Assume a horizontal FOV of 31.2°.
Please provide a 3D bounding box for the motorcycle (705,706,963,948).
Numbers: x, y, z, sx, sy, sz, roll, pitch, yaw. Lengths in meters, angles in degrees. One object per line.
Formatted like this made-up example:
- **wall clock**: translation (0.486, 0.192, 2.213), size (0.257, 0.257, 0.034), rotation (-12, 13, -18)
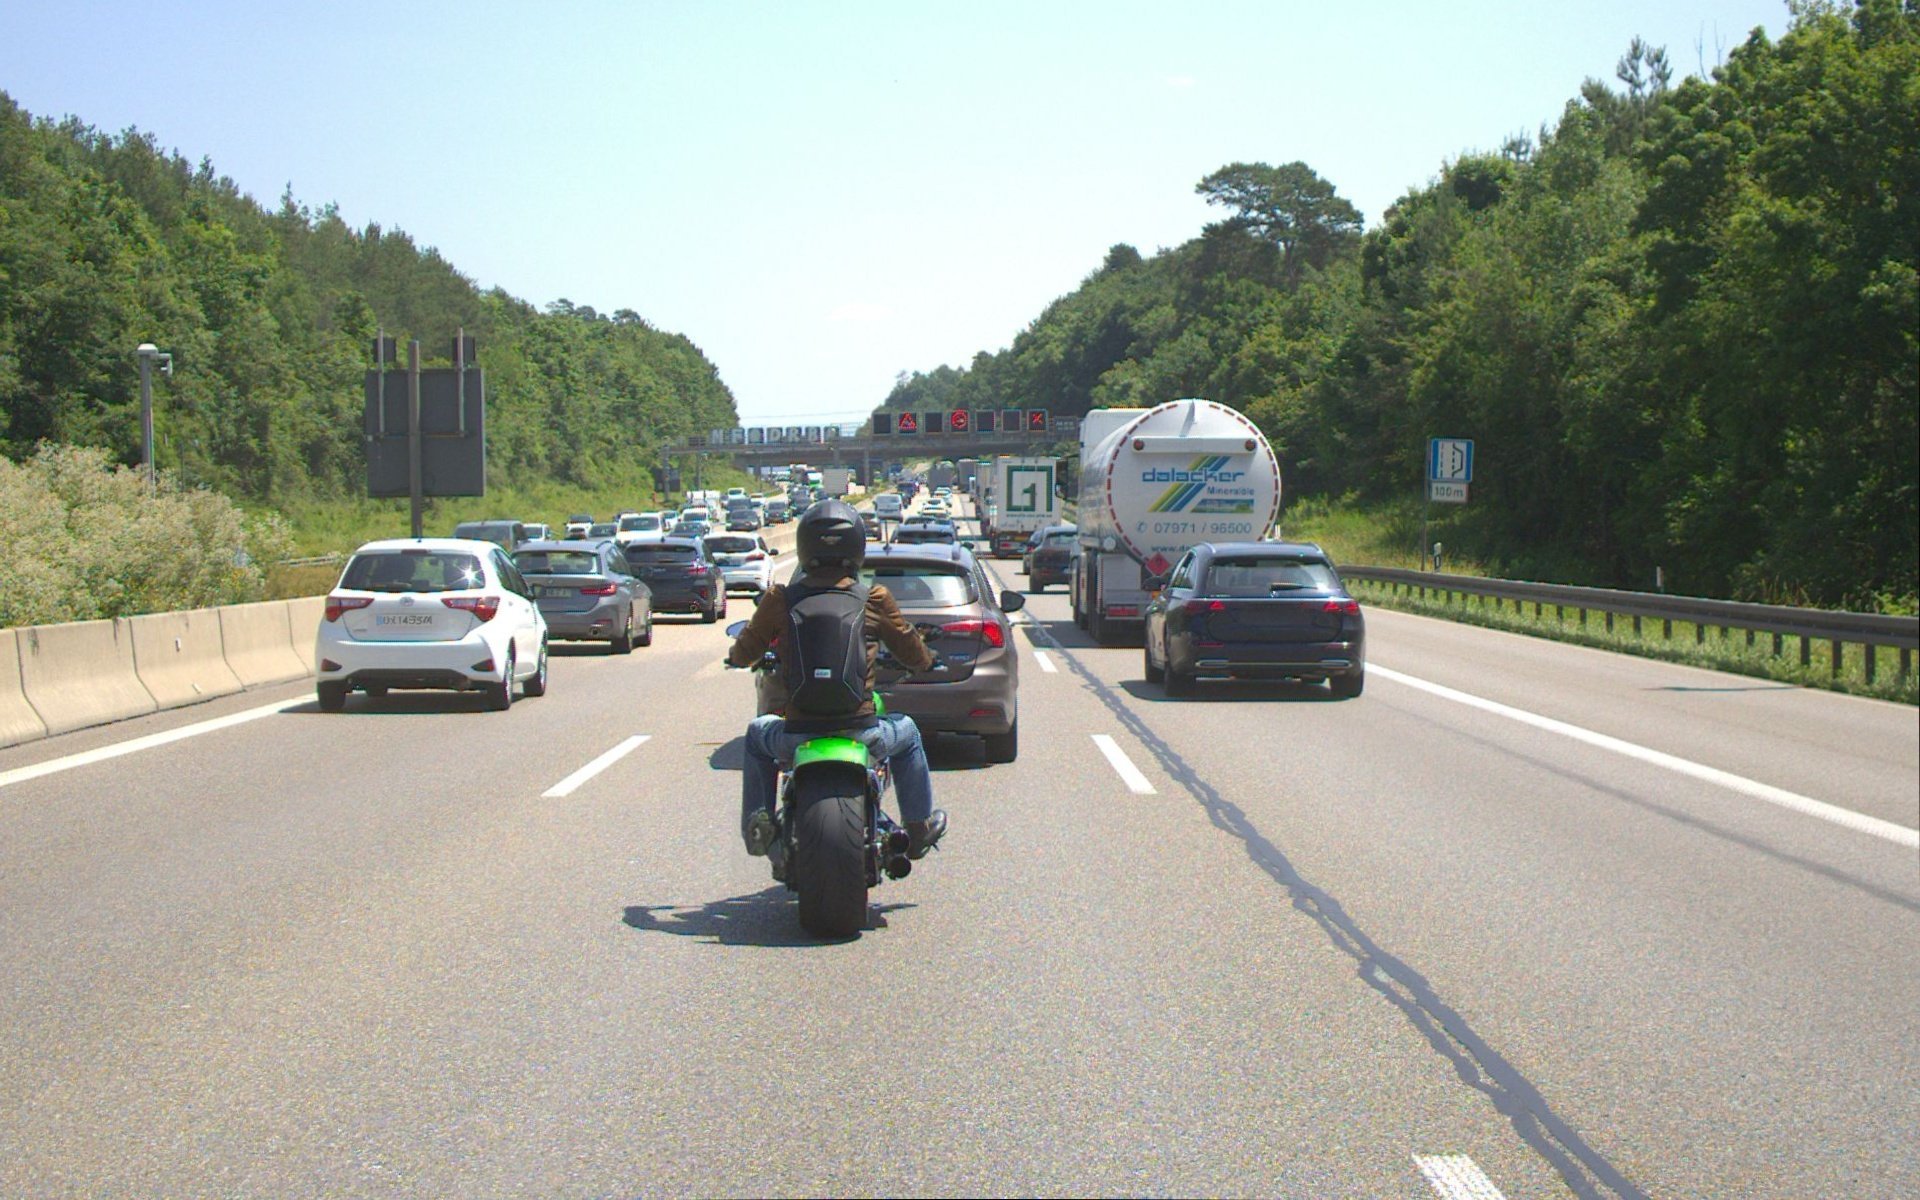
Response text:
- **motorcycle**: translation (-0.466, 0.866, 13.730), size (0.936, 0.790, 2.299), rotation (1, 0, 0)

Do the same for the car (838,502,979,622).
- **car**: translation (-0.771, -0.535, 51.180), size (1.993, 1.705, 4.000), rotation (1, 0, -1)

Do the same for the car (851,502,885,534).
- **car**: translation (-4.773, -4.258, 179.241), size (1.660, 1.594, 4.000), rotation (0, 0, 0)

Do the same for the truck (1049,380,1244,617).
- **truck**: translation (2.997, -1.571, 56.906), size (2.828, 3.659, 6.429), rotation (1, 0, 0)

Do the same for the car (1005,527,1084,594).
- **car**: translation (2.025, -0.937, 83.181), size (1.776, 1.522, 4.000), rotation (1, 0, 0)

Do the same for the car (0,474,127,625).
- **car**: translation (-13.090, -0.715, 47.705), size (1.993, 2.007, 4.272), rotation (0, 1, 0)

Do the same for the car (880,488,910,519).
- **car**: translation (-4.487, -6.667, 237.671), size (1.993, 2.007, 4.000), rotation (-1, 0, 0)

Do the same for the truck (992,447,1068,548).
- **truck**: translation (2.861, -4.081, 138.565), size (2.854, 3.808, 7.187), rotation (1, 0, 3)

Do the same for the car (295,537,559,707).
- **car**: translation (-4.757, 0.151, 31.173), size (1.776, 1.406, 4.000), rotation (1, 1, 0)

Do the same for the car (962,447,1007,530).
- **car**: translation (1.205, -5.684, 176.238), size (2.167, 3.879, 9.330), rotation (1, 0, 0)

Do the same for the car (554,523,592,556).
- **car**: translation (-23.744, -3.713, 210.961), size (1.993, 2.007, 4.001), rotation (0, 1, -2)

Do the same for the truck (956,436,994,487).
- **truck**: translation (1.069, -10.217, 254.138), size (2.696, 3.394, 10.478), rotation (-1, 0, 0)

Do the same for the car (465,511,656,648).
- **car**: translation (-5.154, -0.244, 44.851), size (1.993, 1.678, 4.330), rotation (1, 0, 0)

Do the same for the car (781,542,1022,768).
- **car**: translation (-0.385, 0.335, 24.180), size (1.541, 1.445, 4.000), rotation (1, 1, 0)

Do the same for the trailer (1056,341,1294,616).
- **trailer**: translation (3.032, -1.612, 51.550), size (2.828, 3.658, 10.732), rotation (1, 0, 0)

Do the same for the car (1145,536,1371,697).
- **car**: translation (2.855, 0.164, 33.836), size (1.792, 1.453, 4.624), rotation (1, 0, 0)

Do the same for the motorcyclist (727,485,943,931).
- **motorcyclist**: translation (-0.477, 0.410, 13.540), size (0.799, 1.682, 1.016), rotation (1, 0, 0)

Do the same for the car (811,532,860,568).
- **car**: translation (-4.971, -2.005, 137.706), size (1.764, 1.437, 4.000), rotation (0, 1, 0)

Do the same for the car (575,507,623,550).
- **car**: translation (-15.550, -3.087, 148.136), size (1.696, 1.807, 4.000), rotation (0, 1, -1)

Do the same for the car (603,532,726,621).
- **car**: translation (-5.011, -0.376, 58.706), size (1.993, 1.459, 4.000), rotation (1, 0, -4)

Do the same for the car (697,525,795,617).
- **car**: translation (-4.774, -0.627, 77.221), size (1.993, 2.007, 4.000), rotation (1, 0, -1)
